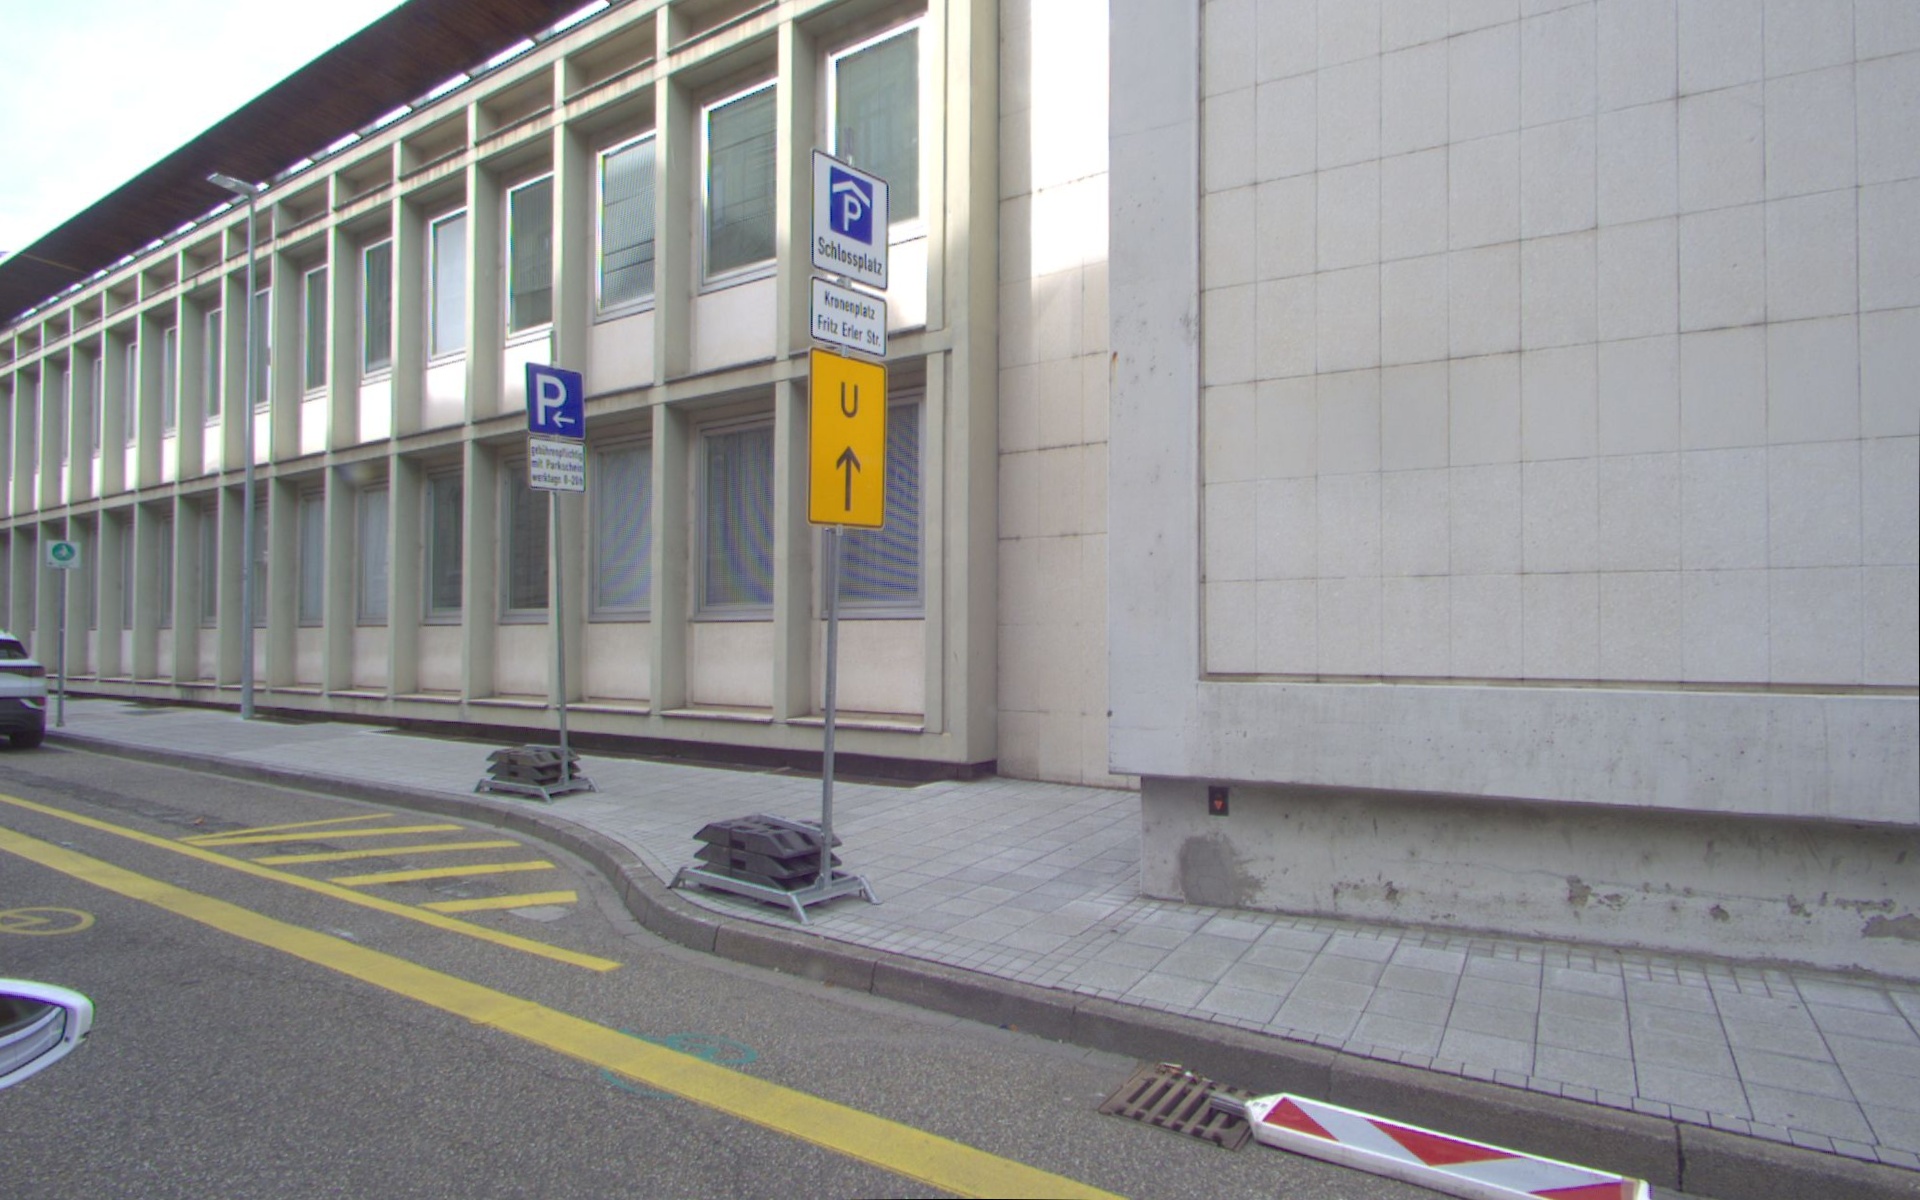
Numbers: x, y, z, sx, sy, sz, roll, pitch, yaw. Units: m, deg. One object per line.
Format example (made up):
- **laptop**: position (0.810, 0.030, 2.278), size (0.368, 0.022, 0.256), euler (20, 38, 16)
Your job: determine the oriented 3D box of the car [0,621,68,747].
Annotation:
- **car**: position (-14.358, 1.107, 13.945), size (4.452, 1.624, 1.857), euler (-1, -5, 35)
